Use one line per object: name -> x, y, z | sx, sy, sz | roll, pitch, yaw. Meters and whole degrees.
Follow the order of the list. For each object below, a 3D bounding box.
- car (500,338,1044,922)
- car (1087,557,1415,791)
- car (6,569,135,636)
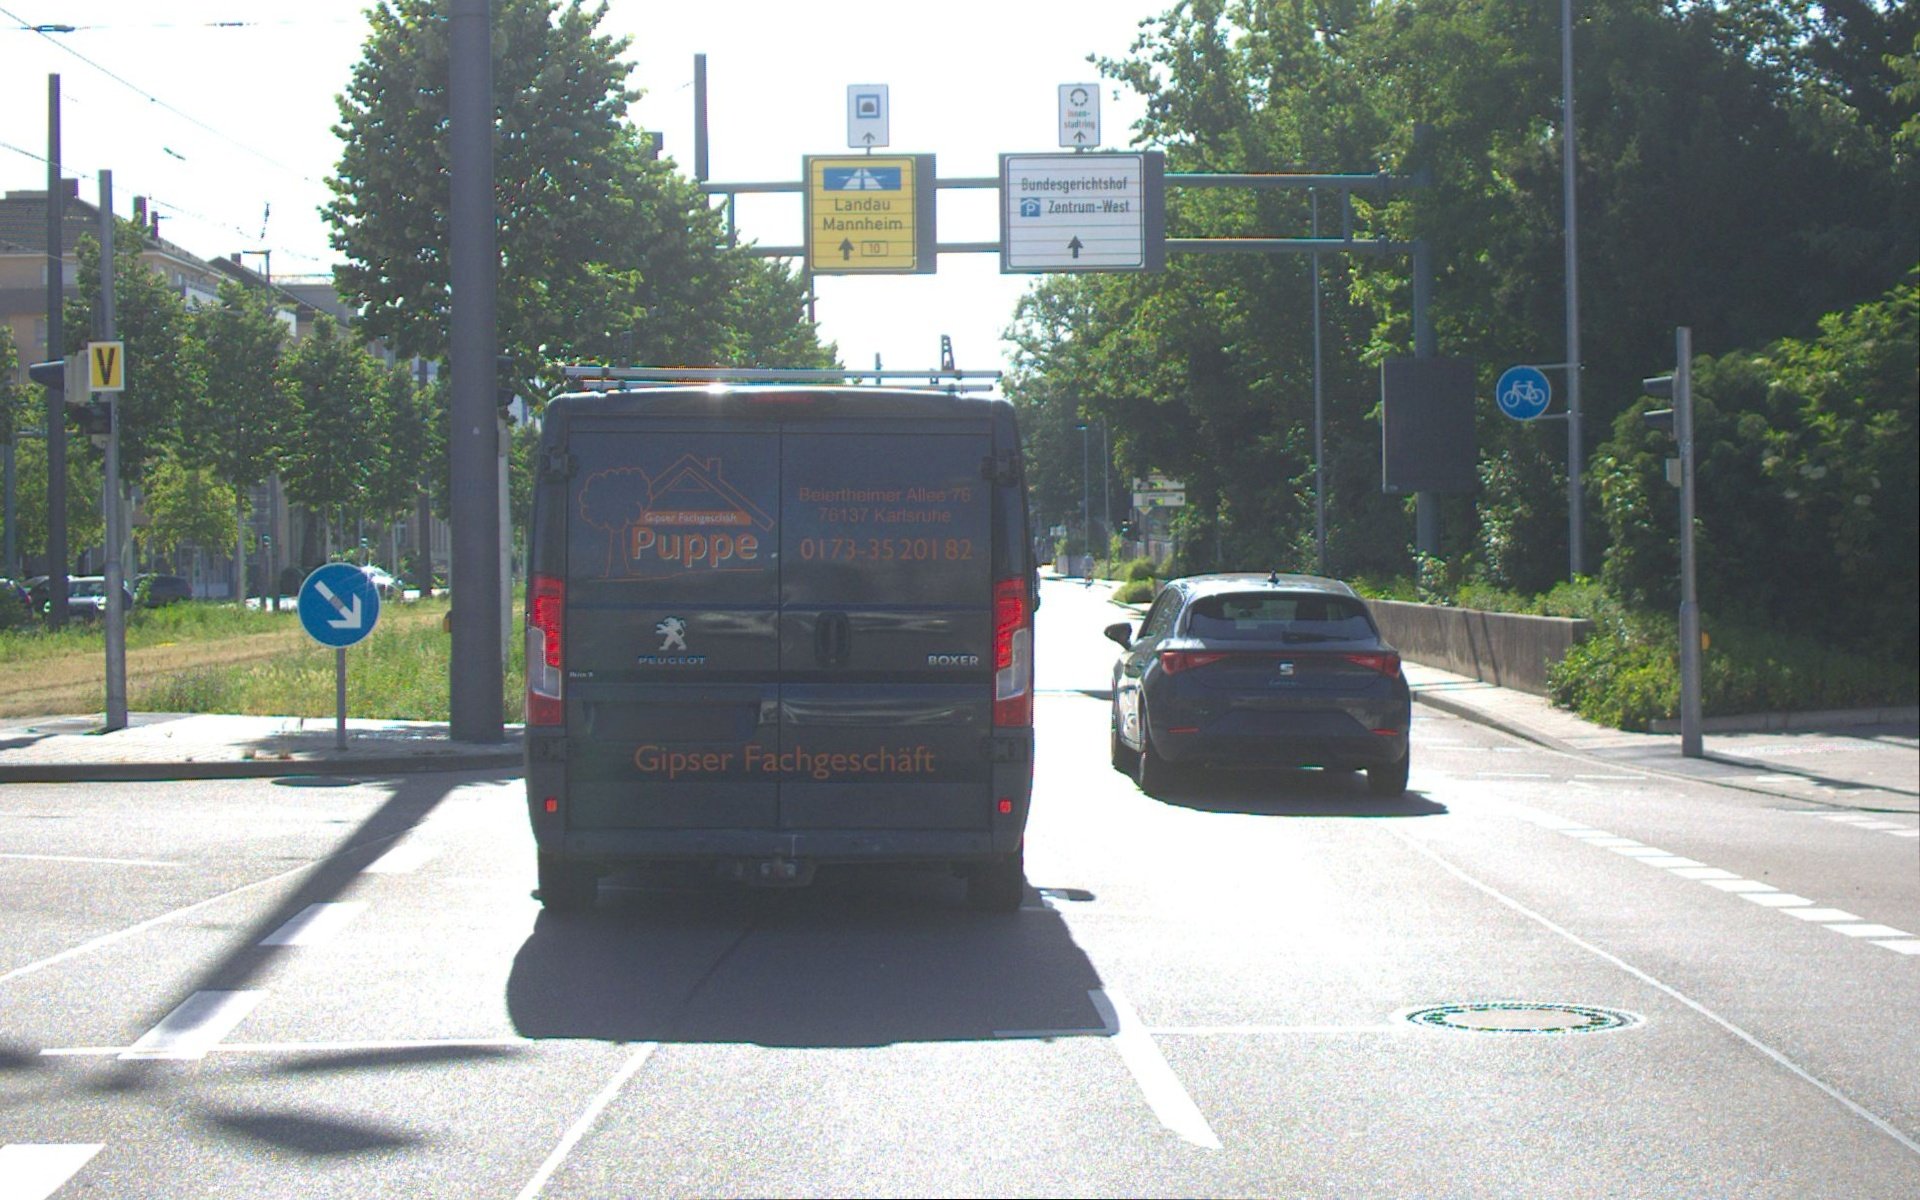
car -> -0.752, 0.097, 15.297 | 2.082, 2.241, 4.000 | 1, 1, -1
car -> 1.904, 0.446, 23.638 | 1.763, 1.457, 4.000 | 1, 1, -2
car -> -21.571, 0.041, 83.532 | 1.993, 1.547, 4.000 | 1, 1, 2
